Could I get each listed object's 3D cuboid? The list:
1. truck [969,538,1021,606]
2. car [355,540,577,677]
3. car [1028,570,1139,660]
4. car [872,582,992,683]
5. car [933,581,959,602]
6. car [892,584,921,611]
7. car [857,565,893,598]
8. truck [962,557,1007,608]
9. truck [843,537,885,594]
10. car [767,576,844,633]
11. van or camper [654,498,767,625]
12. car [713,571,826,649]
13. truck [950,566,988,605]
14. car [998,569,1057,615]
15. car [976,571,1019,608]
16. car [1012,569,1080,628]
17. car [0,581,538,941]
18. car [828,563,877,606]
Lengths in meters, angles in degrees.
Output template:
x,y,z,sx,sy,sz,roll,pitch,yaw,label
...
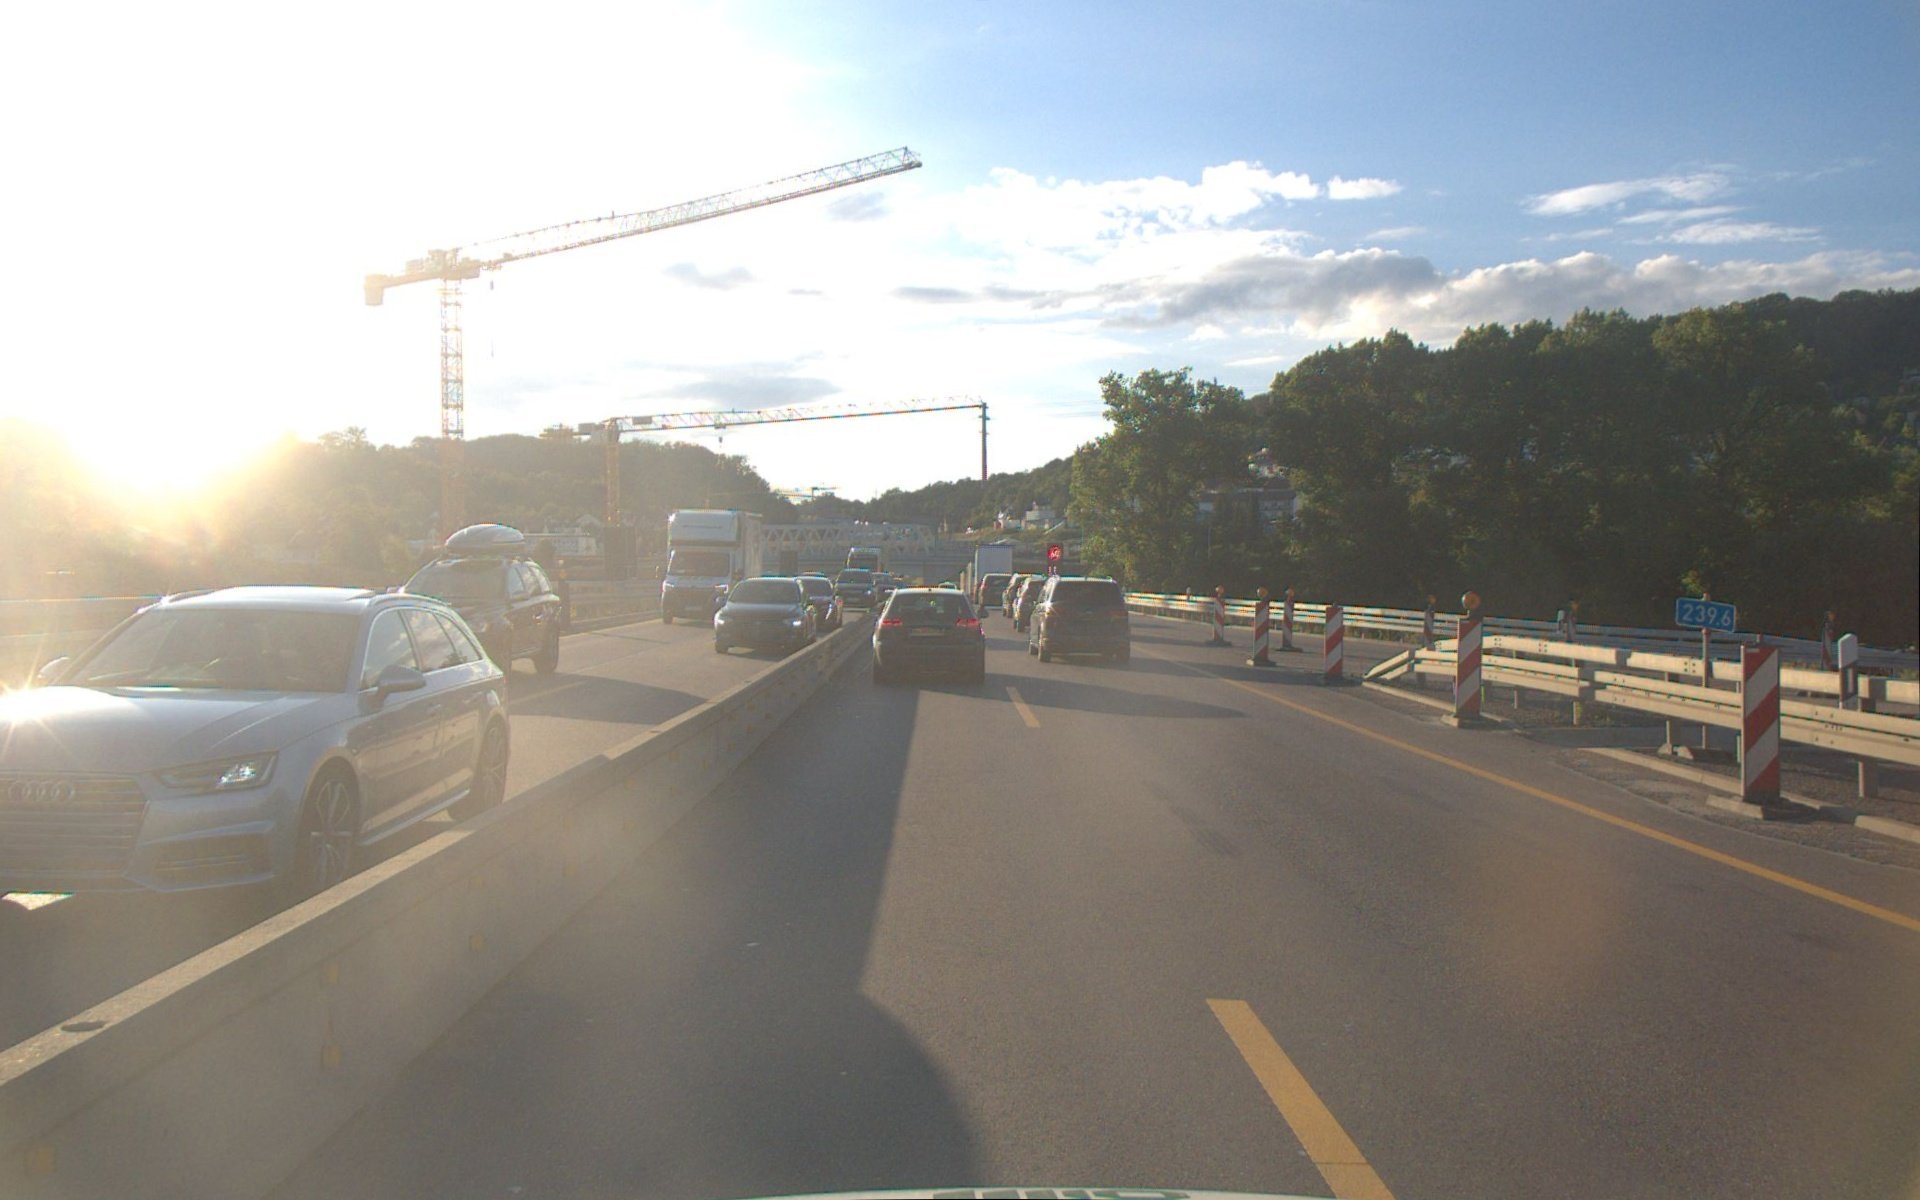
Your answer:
x,y,z,sx,sy,sz,roll,pitch,yaw,label
2.480,-2.183,122.091,3.316,4.576,15.268,1,2,0,truck
-7.158,0.112,24.464,1.953,1.795,4.440,1,0,-1,car
2.395,0.245,33.172,1.776,1.643,4.525,0,1,-2,car
-0.483,0.460,26.204,1.734,1.414,3.999,1,1,-2,car
-0.998,-0.603,120.099,1.825,1.445,3.999,2,0,-1,car
-3.322,-0.146,102.914,1.731,1.561,3.998,1,0,-2,car
-4.319,-0.933,84.216,1.708,1.611,4.704,1,0,-2,car
2.212,-1.677,157.753,3.811,4.576,15.265,1,1,-1,truck
-7.169,-2.551,123.747,2.756,4.119,5.672,0,0,0,truck
-4.258,0.091,46.226,1.779,1.488,4.705,1,1,-1,car
-7.515,-1.139,50.589,2.408,3.559,7.412,1,1,-1,van or camper
-3.874,0.162,34.264,1.778,1.488,4.706,1,1,0,car
1.025,-1.809,201.933,3.813,4.576,13.841,1,1,-3,truck
2.476,-0.274,61.608,1.837,1.627,4.964,1,0,-2,car
1.719,-0.475,77.279,1.778,1.661,4.410,1,0,-1,car
2.490,-0.061,48.675,1.738,1.613,4.134,1,0,0,car
-3.699,0.662,8.902,1.823,1.457,4.154,1,0,-1,car
-4.286,-0.630,66.359,1.790,1.668,4.528,1,1,-2,car
